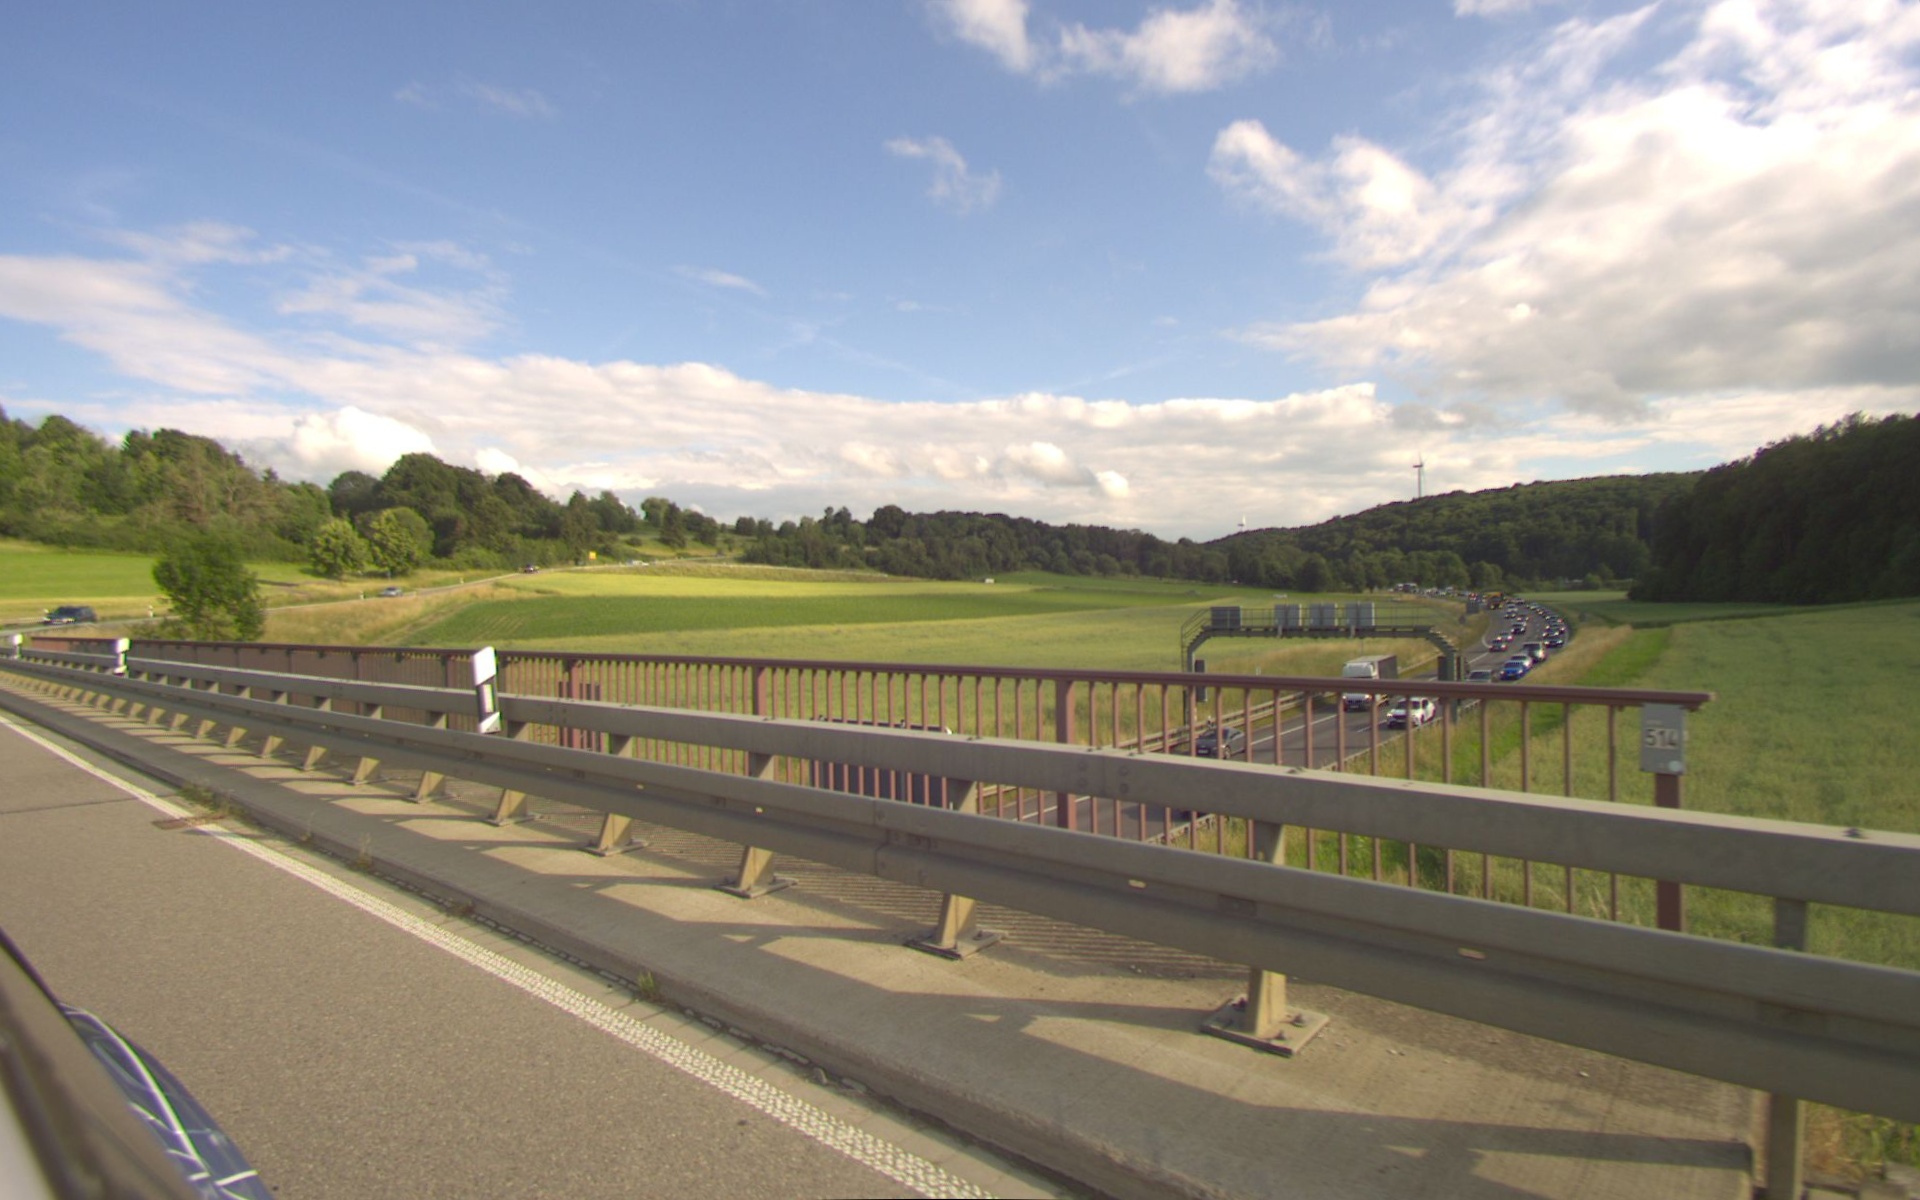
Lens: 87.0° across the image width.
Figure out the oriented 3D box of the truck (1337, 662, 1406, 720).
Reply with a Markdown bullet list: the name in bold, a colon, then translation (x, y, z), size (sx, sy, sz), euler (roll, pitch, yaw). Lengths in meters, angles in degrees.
- **truck**: translation (28.205, 6.090, 69.158), size (2.121, 3.431, 8.385), euler (-1, -2, 38)

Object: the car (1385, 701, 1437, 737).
- **car**: translation (25.191, 6.582, 56.510), size (1.825, 1.662, 3.950), euler (-1, -3, 37)

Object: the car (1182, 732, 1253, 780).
- **car**: translation (12.439, 7.446, 48.717), size (1.986, 1.727, 3.950), euler (-1, -2, 36)

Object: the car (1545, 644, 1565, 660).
- **car**: translation (71.048, 6.198, 120.841), size (1.798, 1.599, 3.953), euler (0, 1, 35)

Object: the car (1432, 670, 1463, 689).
- **car**: translation (44.228, 7.175, 91.772), size (1.714, 1.342, 3.950), euler (-1, 0, 37)

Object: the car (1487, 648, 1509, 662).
- **car**: translation (64.628, 6.559, 121.631), size (1.824, 1.453, 3.952), euler (-1, 0, 35)

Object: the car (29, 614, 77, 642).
- **car**: translation (-59.782, 1.828, 66.759), size (1.792, 1.623, 4.011), euler (1, 1, -33)

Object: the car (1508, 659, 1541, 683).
- **car**: translation (46.915, 5.877, 84.072), size (1.825, 1.662, 3.950), euler (-1, 0, 37)

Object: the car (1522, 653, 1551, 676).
- **car**: translation (55.224, 6.113, 96.863), size (1.996, 1.740, 3.953), euler (4, 3, 34)
